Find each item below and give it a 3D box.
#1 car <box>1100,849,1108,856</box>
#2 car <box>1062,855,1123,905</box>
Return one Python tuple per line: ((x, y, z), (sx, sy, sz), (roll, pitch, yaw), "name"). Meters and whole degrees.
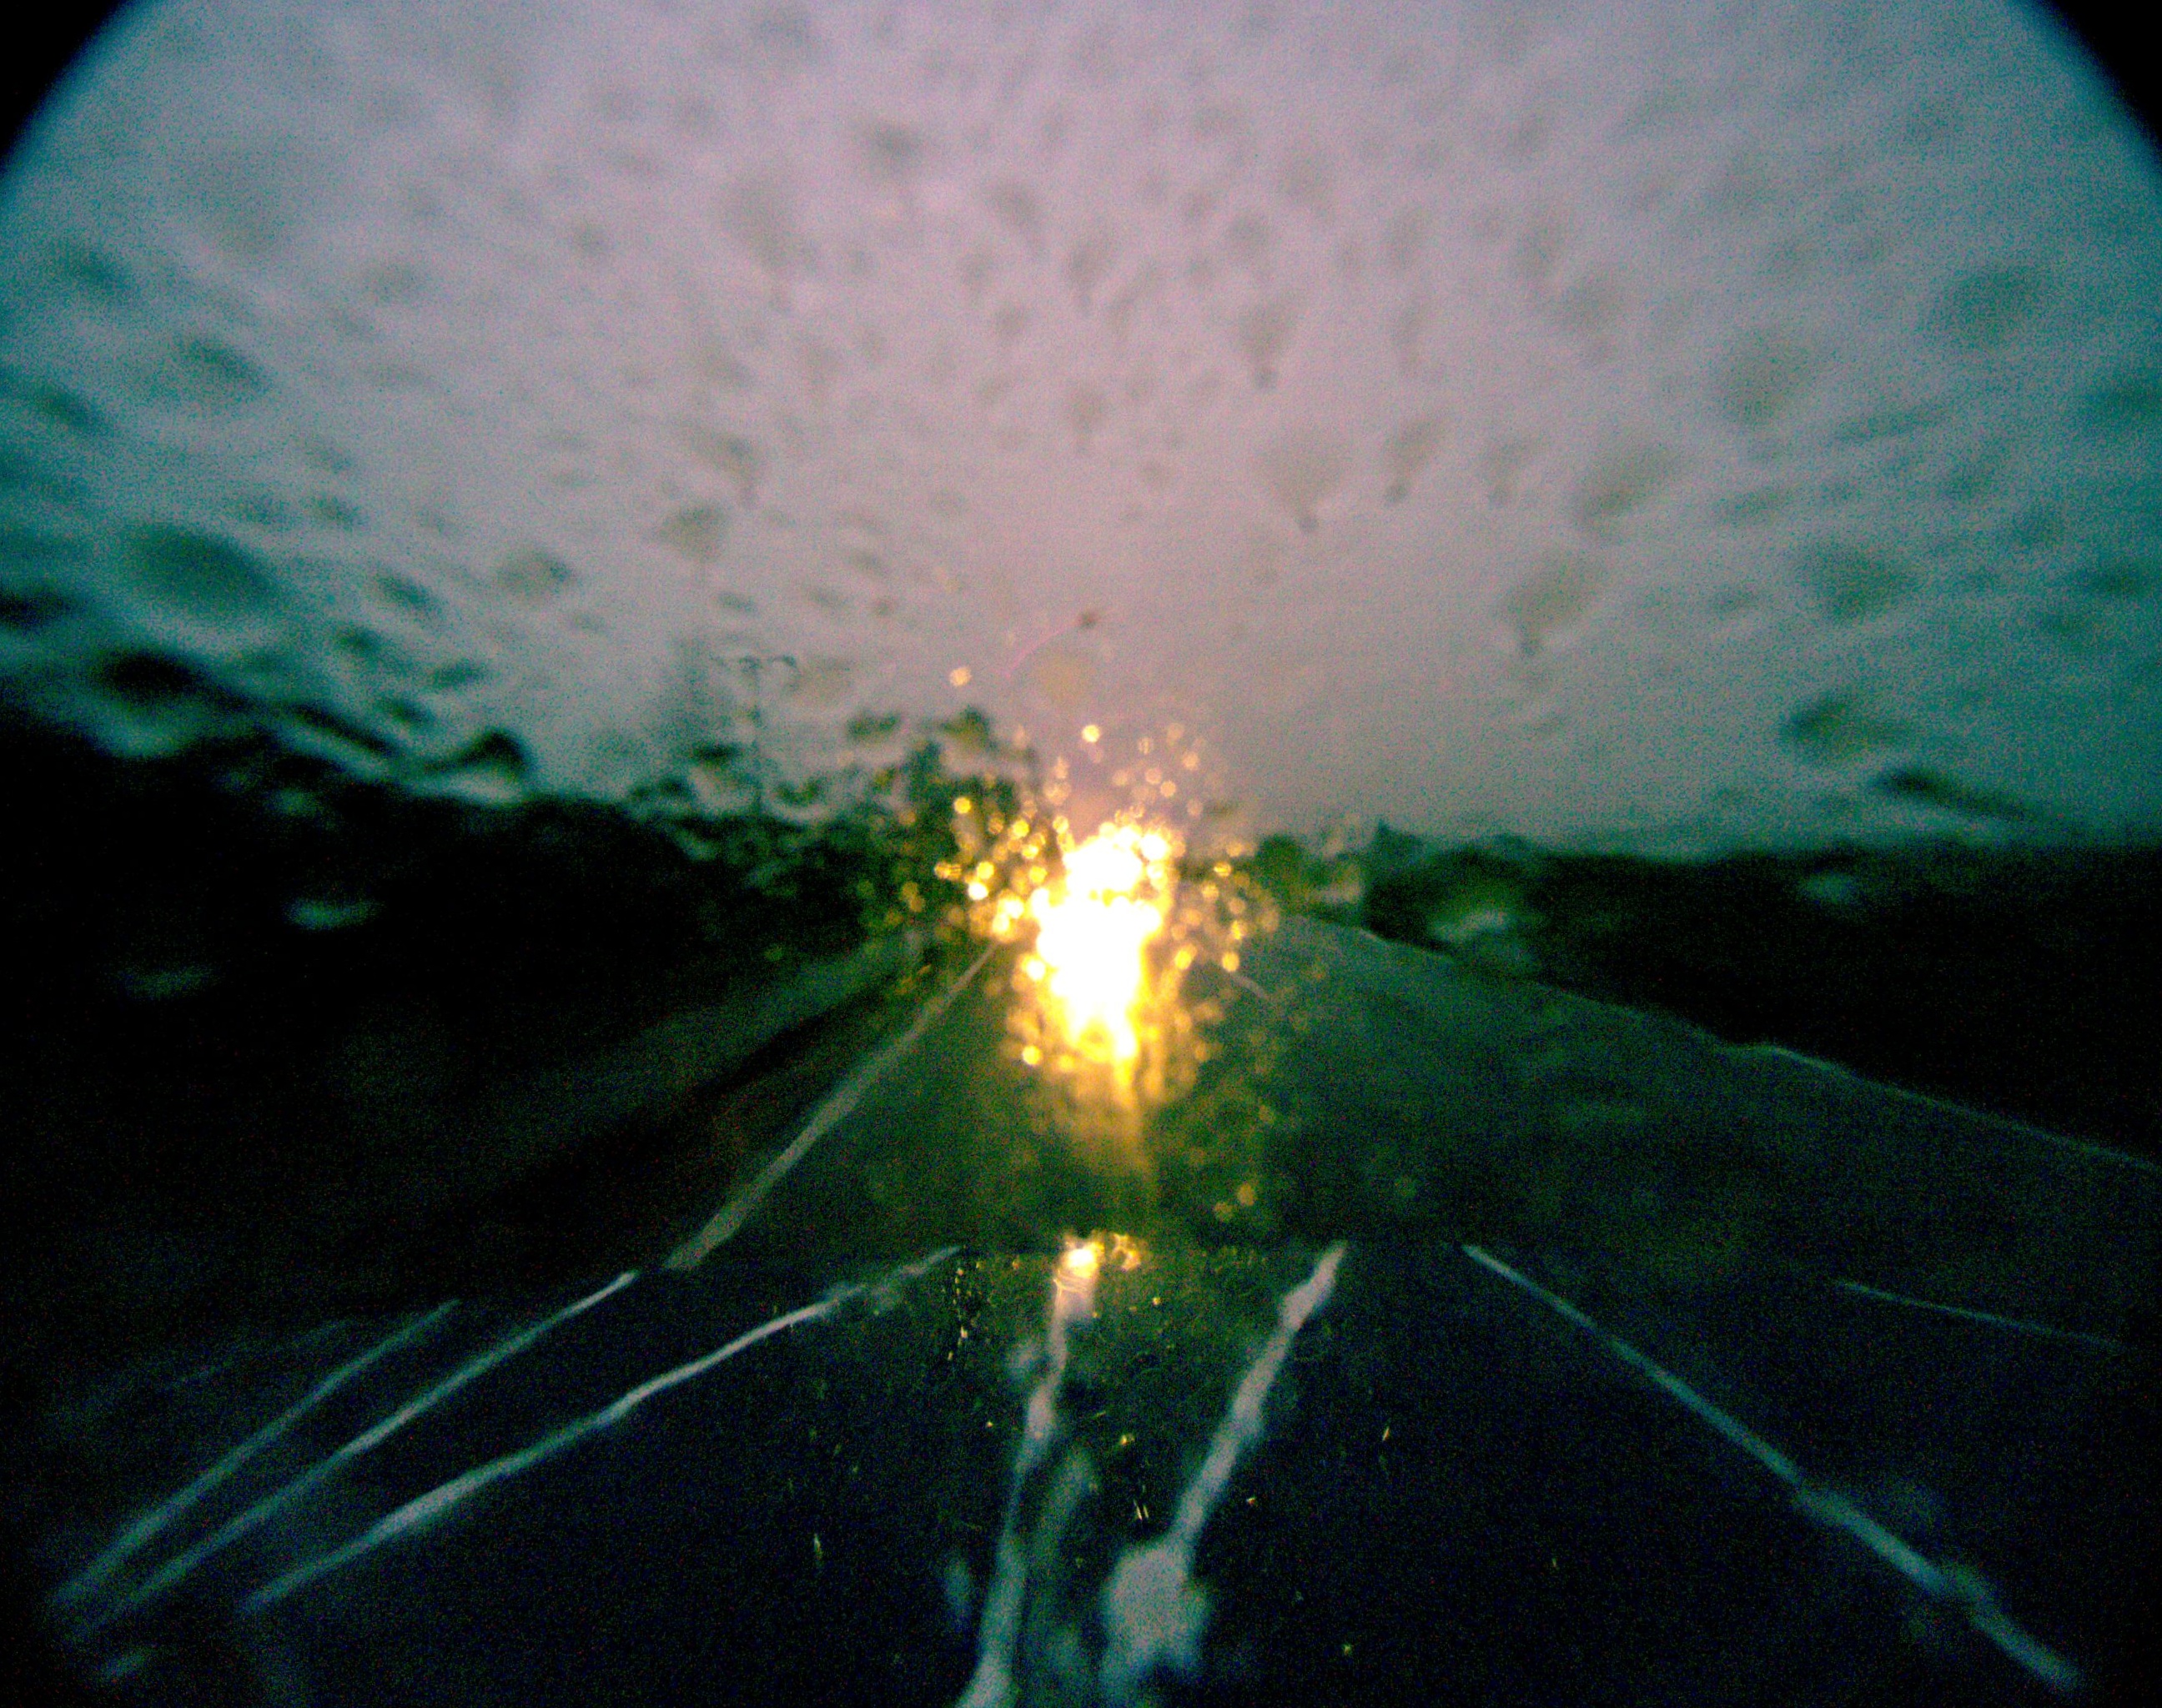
((6.093, -0.379, 199.874), (1.844, 1.711, 3.956), (-2, 1, 0), "car")
((0.382, 0.824, 25.905), (1.844, 1.484, 3.956), (-2, 1, 0), "car")
